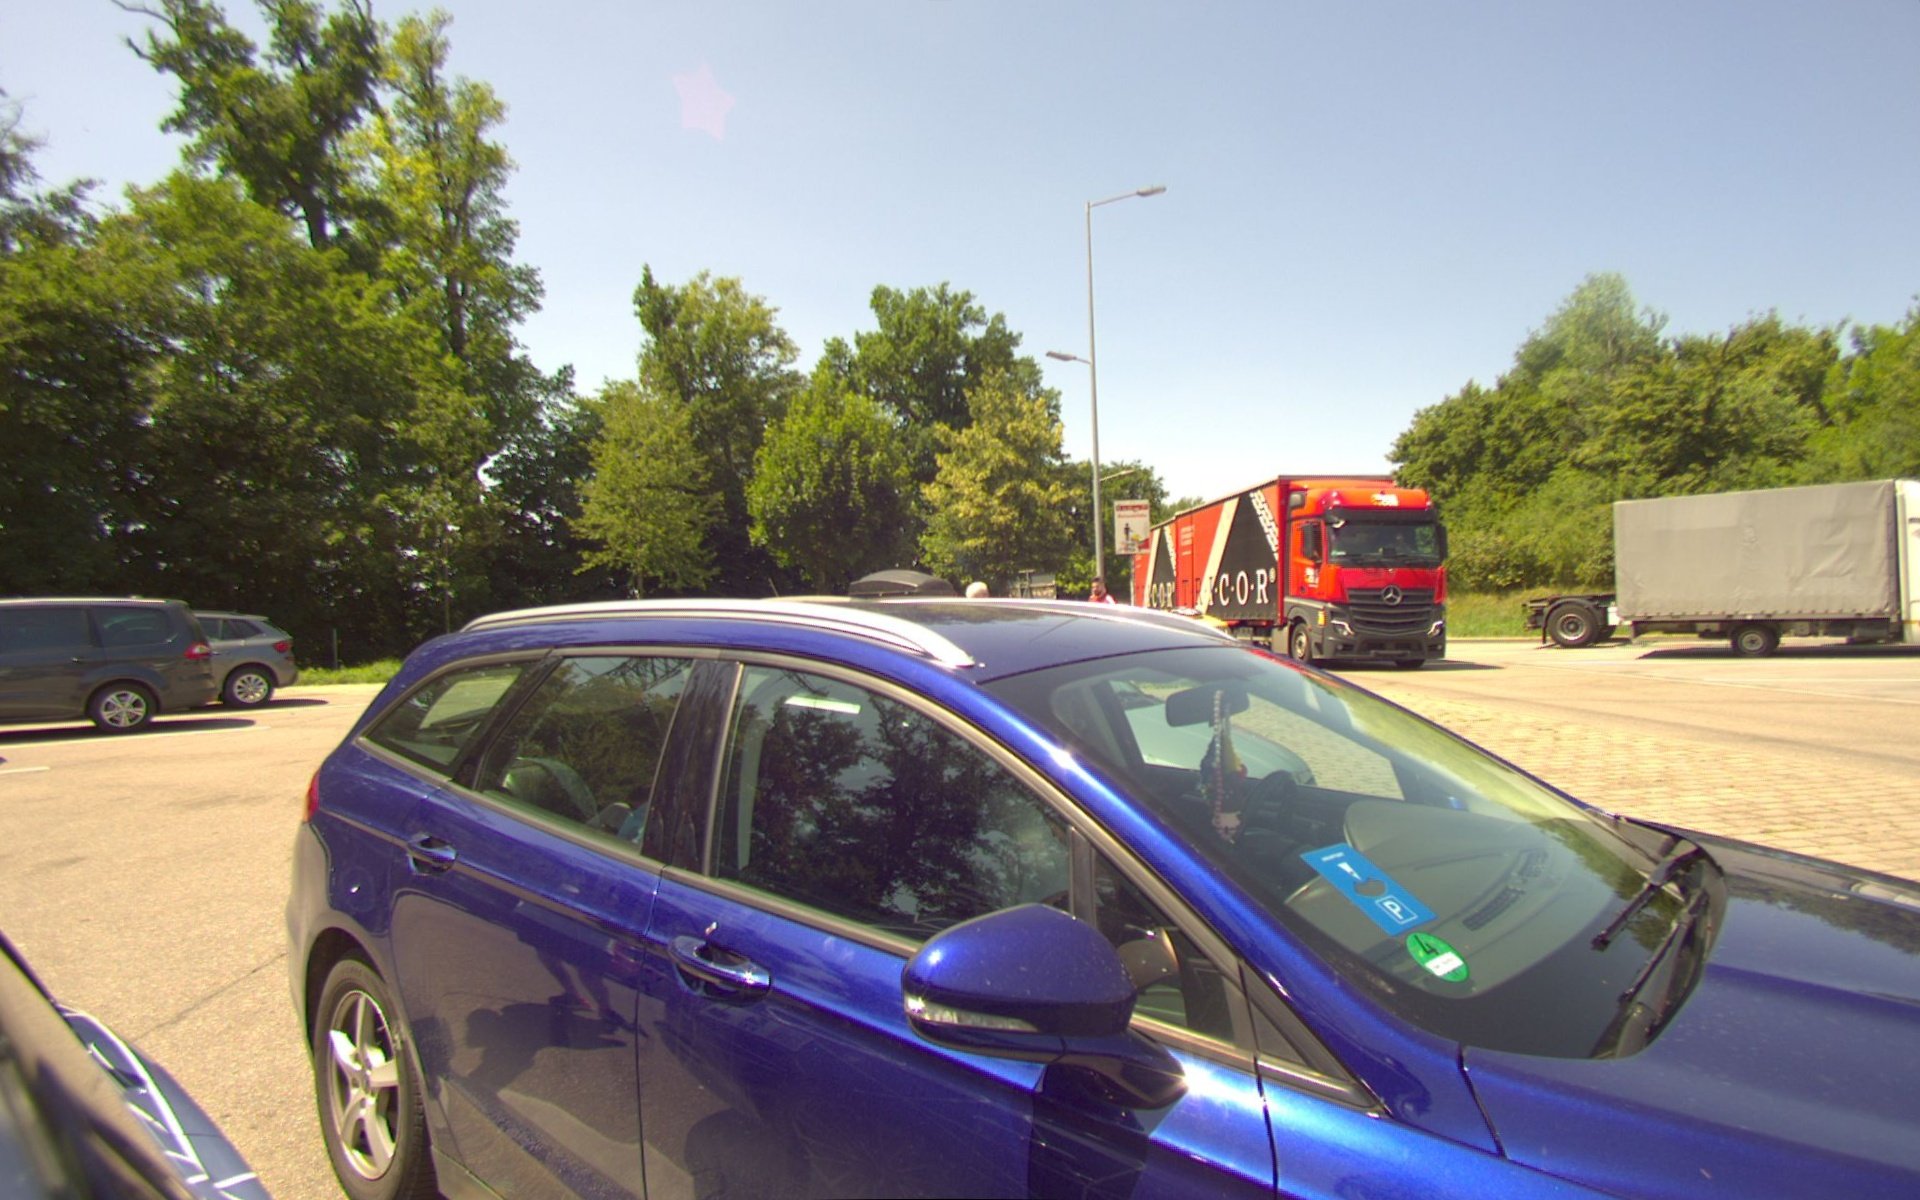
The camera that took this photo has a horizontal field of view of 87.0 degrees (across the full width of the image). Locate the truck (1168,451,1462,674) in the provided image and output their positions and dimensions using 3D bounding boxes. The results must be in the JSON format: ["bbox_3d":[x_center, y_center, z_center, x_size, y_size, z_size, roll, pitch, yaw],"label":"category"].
[{"bbox_3d":[7.779,-0.674,24.366,2.654,4.159,10.613,-1,0,-3],"label":"truck"}]

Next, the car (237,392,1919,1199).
[{"bbox_3d":[0.226,0.636,2.114,4.466,1.476,1.756,-3,-1,40],"label":"car"}]

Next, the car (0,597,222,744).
[{"bbox_3d":[-11.697,0.852,12.569,3.910,1.701,1.782,-1,-1,-43],"label":"car"}]

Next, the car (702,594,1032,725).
[{"bbox_3d":[-1.376,0.747,13.545,4.466,1.476,1.756,-3,-1,40],"label":"car"}]

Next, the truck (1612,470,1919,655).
[{"bbox_3d":[16.716,-0.635,18.839,7.348,3.152,2.339,-3,-2,41],"label":"truck"}]

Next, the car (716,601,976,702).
[{"bbox_3d":[-2.027,0.834,17.098,4.466,1.476,1.756,-3,-1,40],"label":"car"}]

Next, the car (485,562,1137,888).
[{"bbox_3d":[-1.239,0.636,6.720,4.466,1.476,1.756,-3,-1,40],"label":"car"}]

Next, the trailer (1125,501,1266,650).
[{"bbox_3d":[7.558,-0.652,33.823,2.805,4.290,8.680,-1,-1,2],"label":"trailer"}]

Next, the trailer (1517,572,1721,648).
[{"bbox_3d":[15.771,0.281,24.343,3.900,1.674,1.456,-2,-1,41],"label":"trailer"}]

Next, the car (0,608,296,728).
[{"bbox_3d":[-12.726,0.977,15.620,3.910,1.598,1.782,-1,-1,-43],"label":"car"}]

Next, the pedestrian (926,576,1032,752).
[{"bbox_3d":[0.180,0.590,9.759,0.661,1.614,0.761,-1,-1,-35],"label":"pedestrian"}]

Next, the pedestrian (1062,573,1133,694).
[{"bbox_3d":[1.962,0.472,14.437,0.638,1.662,0.717,-1,-2,-43],"label":"pedestrian"}]
